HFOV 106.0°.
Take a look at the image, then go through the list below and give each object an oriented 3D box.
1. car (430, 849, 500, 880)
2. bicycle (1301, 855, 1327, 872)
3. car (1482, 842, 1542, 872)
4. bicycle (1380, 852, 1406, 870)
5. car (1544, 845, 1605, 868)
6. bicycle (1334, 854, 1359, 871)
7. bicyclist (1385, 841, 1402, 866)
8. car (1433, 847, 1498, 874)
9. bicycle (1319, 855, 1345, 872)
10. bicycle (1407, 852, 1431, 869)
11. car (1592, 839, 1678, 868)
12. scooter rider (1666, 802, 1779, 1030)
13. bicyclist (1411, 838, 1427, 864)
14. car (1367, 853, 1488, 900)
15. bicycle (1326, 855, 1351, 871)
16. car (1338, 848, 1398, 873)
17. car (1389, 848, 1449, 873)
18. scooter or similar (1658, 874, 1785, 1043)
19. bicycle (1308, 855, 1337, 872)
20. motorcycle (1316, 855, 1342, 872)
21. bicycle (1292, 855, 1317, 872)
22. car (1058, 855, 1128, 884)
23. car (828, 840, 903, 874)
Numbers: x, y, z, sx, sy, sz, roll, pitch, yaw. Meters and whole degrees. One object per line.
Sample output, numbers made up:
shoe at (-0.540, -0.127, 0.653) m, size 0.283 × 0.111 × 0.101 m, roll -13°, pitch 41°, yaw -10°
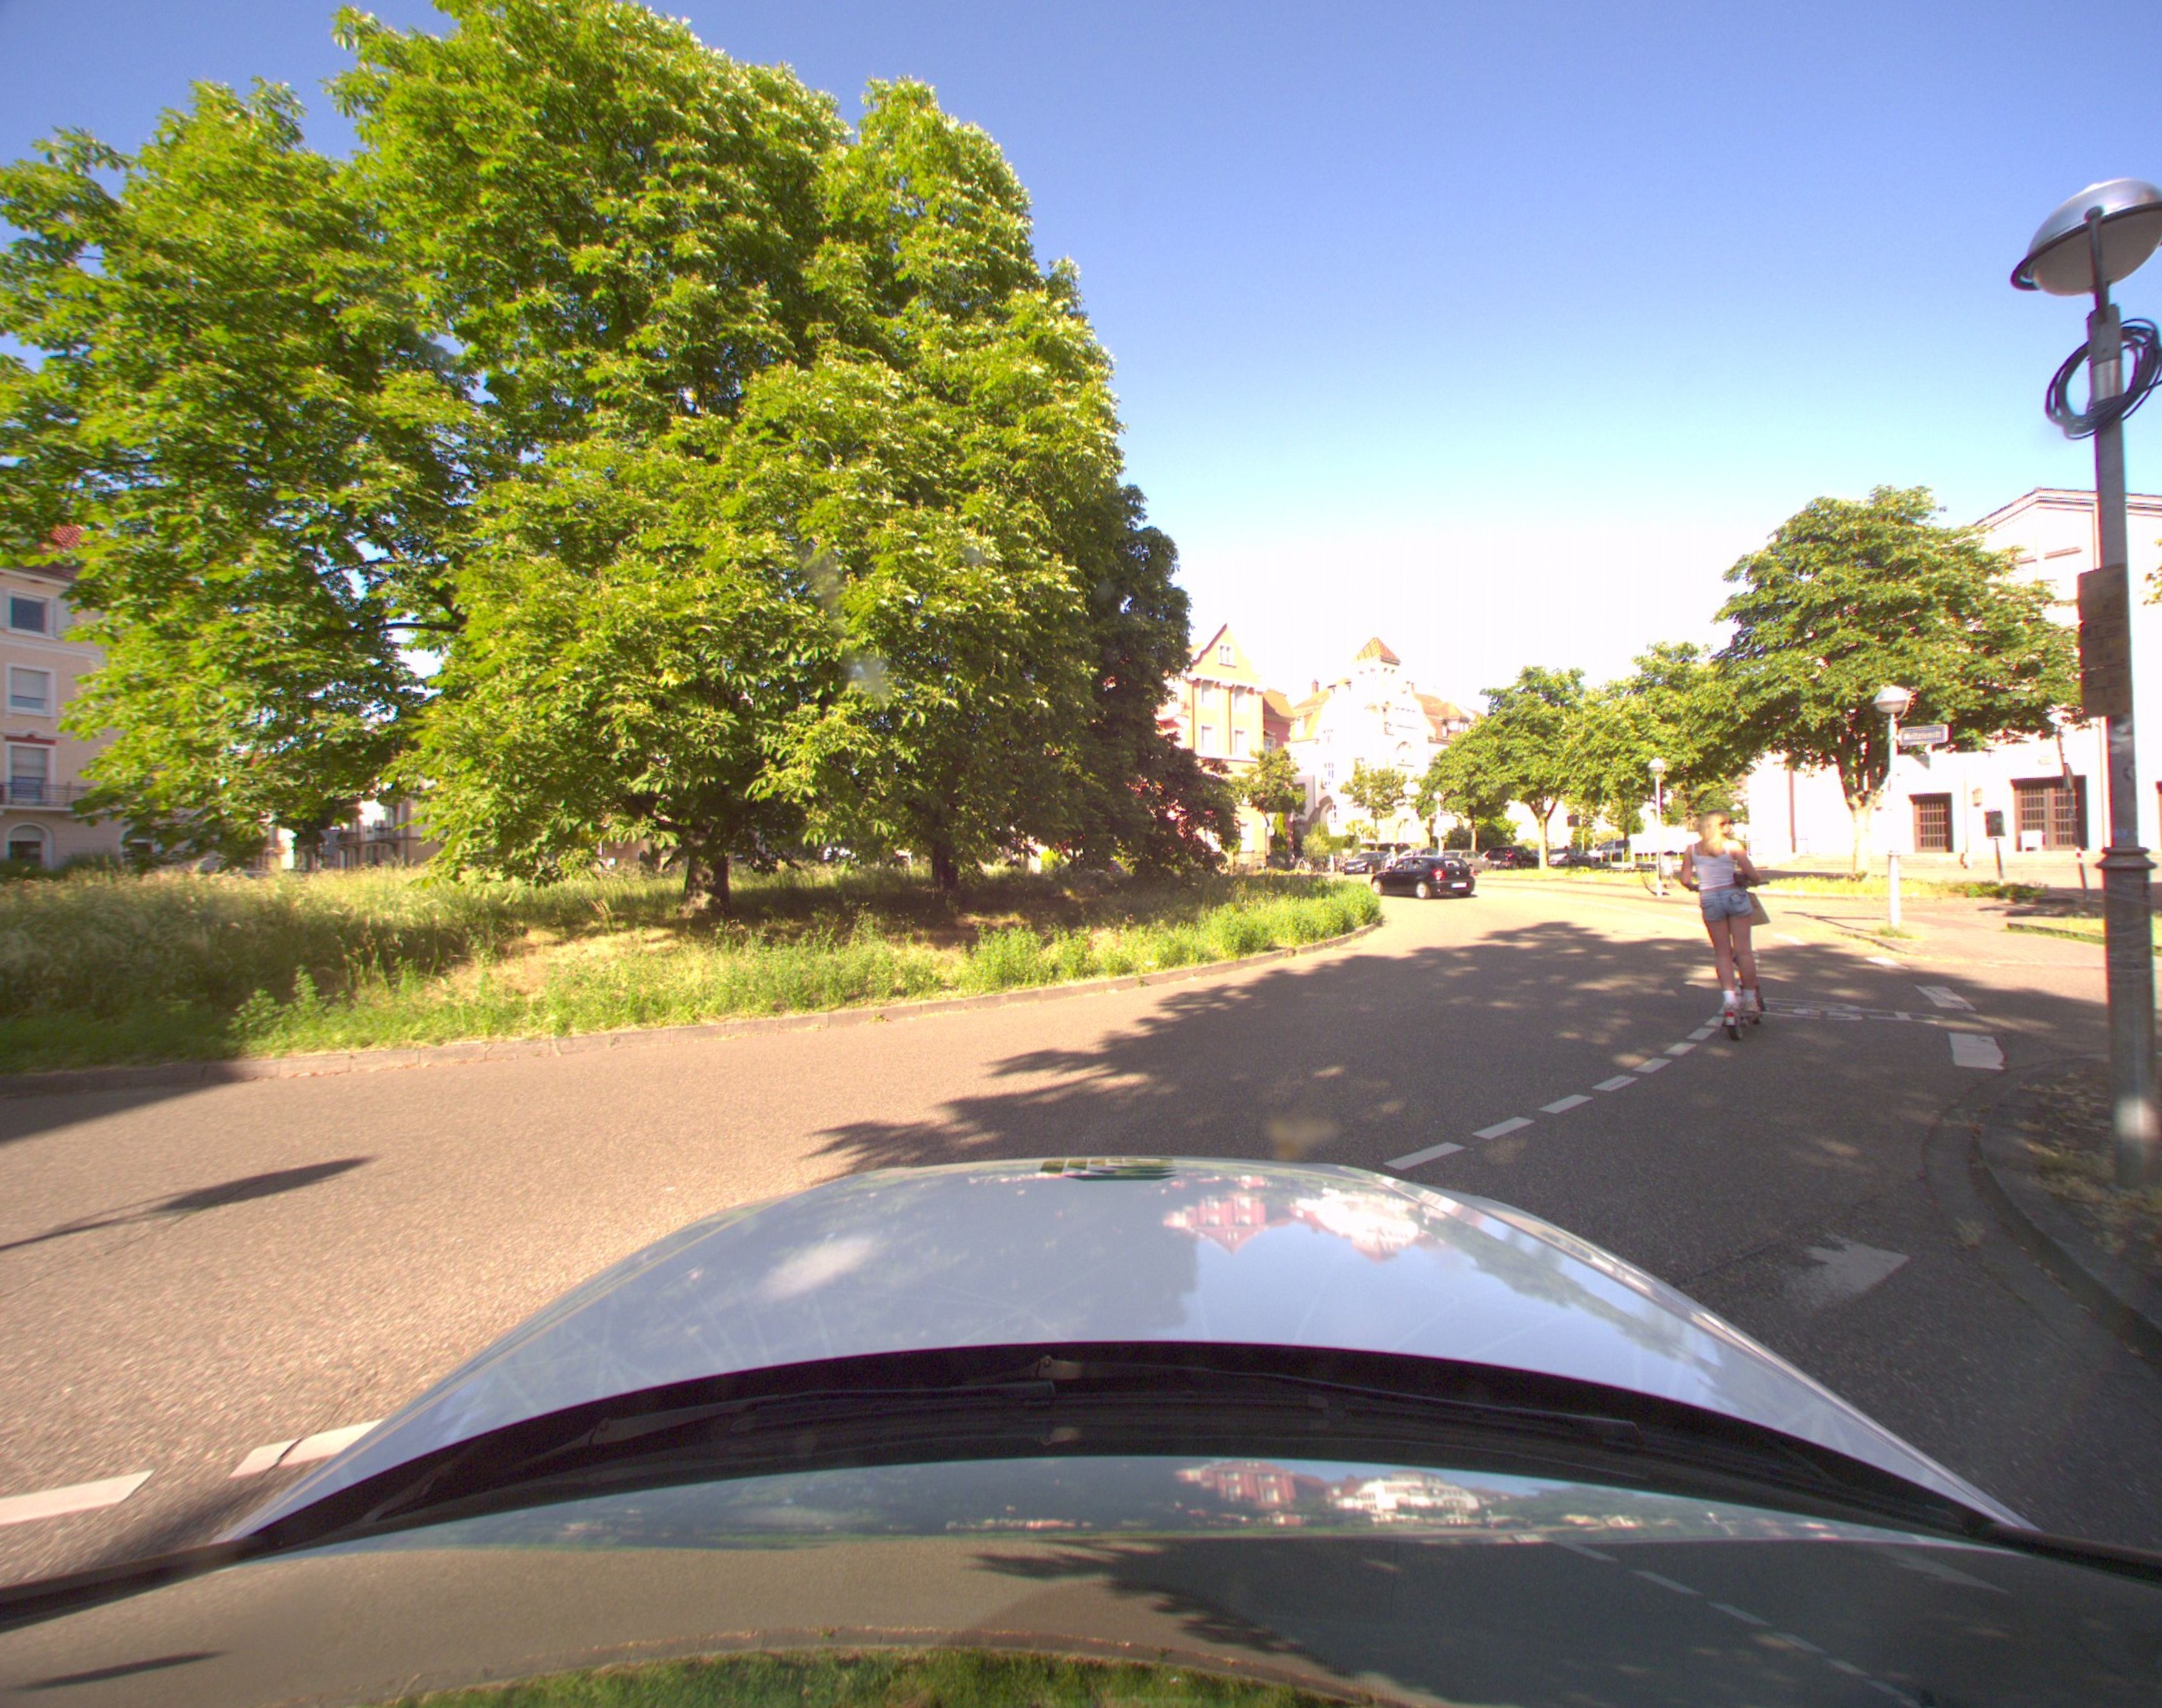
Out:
car at (-40.707, 0.696, 53.801) m, size 4.502 × 1.909 × 2.155 m, roll -2°, pitch -1°, yaw 31°
bicycle at (15.799, 0.643, 55.299) m, size 0.548 × 1.115 × 1.708 m, roll -1°, pitch 1°, yaw -36°
car at (26.085, 0.129, 49.218) m, size 4.361 × 1.728 × 1.788 m, roll -1°, pitch 0°, yaw -41°
bicycle at (19.889, 0.445, 51.826) m, size 1.871 × 1.107 × 0.589 m, roll -1°, pitch -1°, yaw -36°
car at (32.690, 0.152, 53.911) m, size 4.355 × 1.474 × 1.791 m, roll -1°, pitch 0°, yaw -33°
bicycle at (18.770, 0.599, 57.595) m, size 0.518 × 1.107 × 1.707 m, roll -1°, pitch 2°, yaw -39°
bicyclist at (19.866, -0.029, 51.829) m, size 0.806 × 1.581 × 0.591 m, roll -1°, pitch -1°, yaw -25°
car at (21.905, 0.333, 46.331) m, size 4.361 × 1.416 × 1.788 m, roll -1°, pitch 0°, yaw -41°
bicycle at (17.448, 0.631, 56.623) m, size 0.504 × 1.107 × 1.706 m, roll -1°, pitch 2°, yaw -43°
bicycle at (22.329, 0.423, 53.769) m, size 1.724 × 1.108 × 0.639 m, roll 0°, pitch -1°, yaw -36°
car at (39.595, -0.062, 58.293) m, size 1.819 × 2.001 × 4.723 m, roll -1°, pitch 0°, yaw -40°
scooter rider at (5.497, 0.496, 6.983) m, size 0.635 × 1.832 × 0.618 m, roll -1°, pitch 0°, yaw -40°
bicyclist at (22.299, -0.179, 53.775) m, size 0.726 × 1.714 × 0.639 m, roll 0°, pitch -2°, yaw -36°
car at (11.594, 0.715, 27.563) m, size 1.866 × 1.419 × 3.985 m, roll -2°, pitch 0°, yaw -11°
bicycle at (18.015, 0.621, 57.003) m, size 0.503 × 1.107 × 1.707 m, roll -1°, pitch 2°, yaw -39°
car at (18.931, 0.412, 53.625) m, size 4.362 × 1.484 × 1.788 m, roll -1°, pitch -3°, yaw -42°
car at (23.676, 0.435, 57.018) m, size 4.419 × 1.562 × 1.789 m, roll -1°, pitch -2°, yaw -37°
scooter or similar at (5.500, 0.831, 6.983) m, size 1.112 × 1.283 × 0.625 m, roll -1°, pitch 0°, yaw -40°
bicycle at (16.509, 0.633, 55.732) m, size 1.806 × 1.107 × 0.504 m, roll 1°, pitch 1°, yaw 38°
motorcycle at (17.097, 0.641, 56.139) m, size 0.504 × 1.107 × 1.706 m, roll -1°, pitch 2°, yaw -43°
bicycle at (15.024, 0.638, 54.764) m, size 0.548 × 1.115 × 1.708 m, roll -1°, pitch 1°, yaw -36°
car at (0.627, 0.892, 46.302) m, size 1.838 × 1.533 × 3.953 m, roll -1°, pitch 0°, yaw -40°
car at (-17.369, 0.216, 65.467) m, size 6.294 × 2.600 × 2.117 m, roll 0°, pitch -1°, yaw 32°
